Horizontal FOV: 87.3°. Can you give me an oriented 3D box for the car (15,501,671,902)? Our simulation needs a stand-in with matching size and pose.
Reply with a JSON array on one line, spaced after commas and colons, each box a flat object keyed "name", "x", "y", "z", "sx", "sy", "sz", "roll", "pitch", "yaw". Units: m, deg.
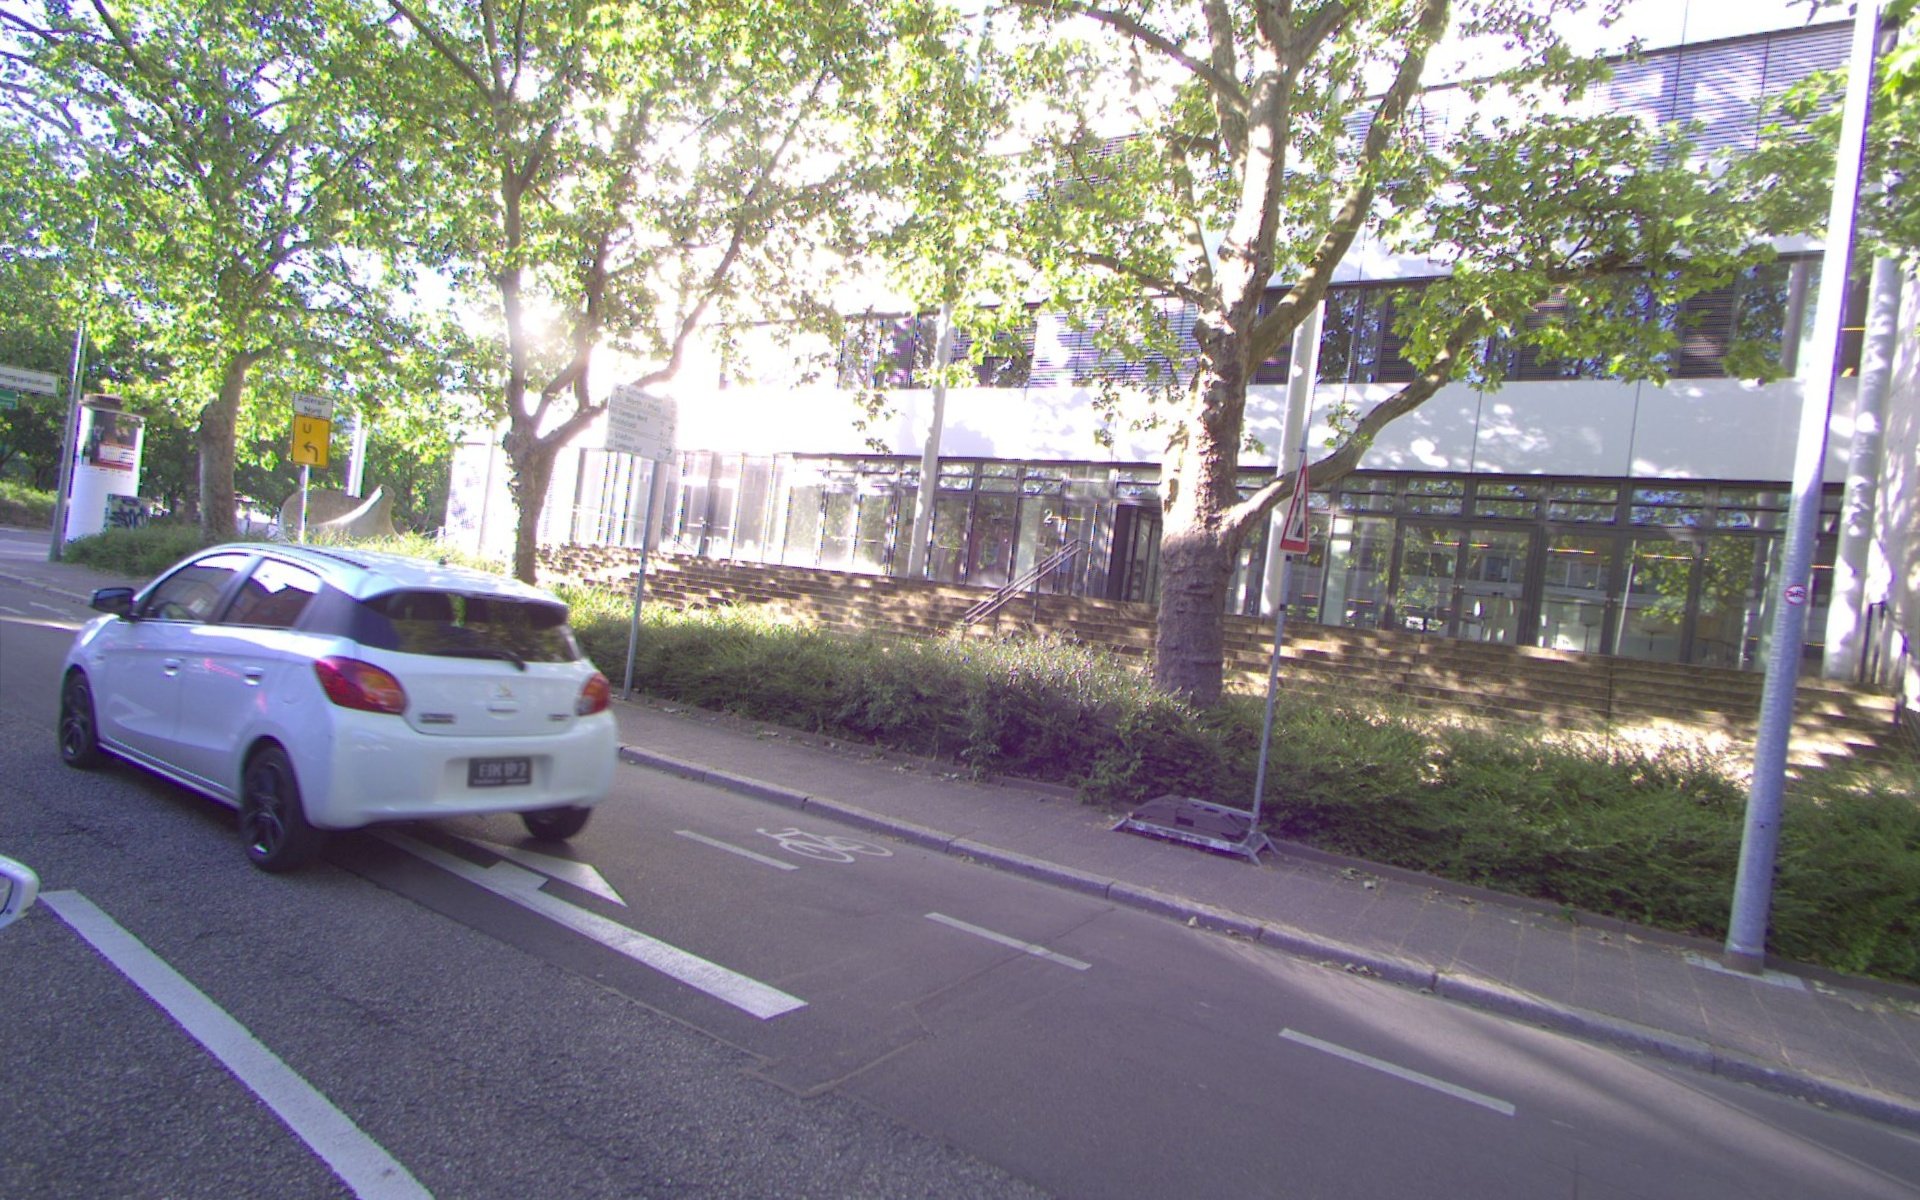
[{"name": "car", "x": -3.652, "y": 0.413, "z": 5.822, "sx": 3.625, "sy": 1.515, "sz": 1.682, "roll": 6, "pitch": -2, "yaw": 32}]
